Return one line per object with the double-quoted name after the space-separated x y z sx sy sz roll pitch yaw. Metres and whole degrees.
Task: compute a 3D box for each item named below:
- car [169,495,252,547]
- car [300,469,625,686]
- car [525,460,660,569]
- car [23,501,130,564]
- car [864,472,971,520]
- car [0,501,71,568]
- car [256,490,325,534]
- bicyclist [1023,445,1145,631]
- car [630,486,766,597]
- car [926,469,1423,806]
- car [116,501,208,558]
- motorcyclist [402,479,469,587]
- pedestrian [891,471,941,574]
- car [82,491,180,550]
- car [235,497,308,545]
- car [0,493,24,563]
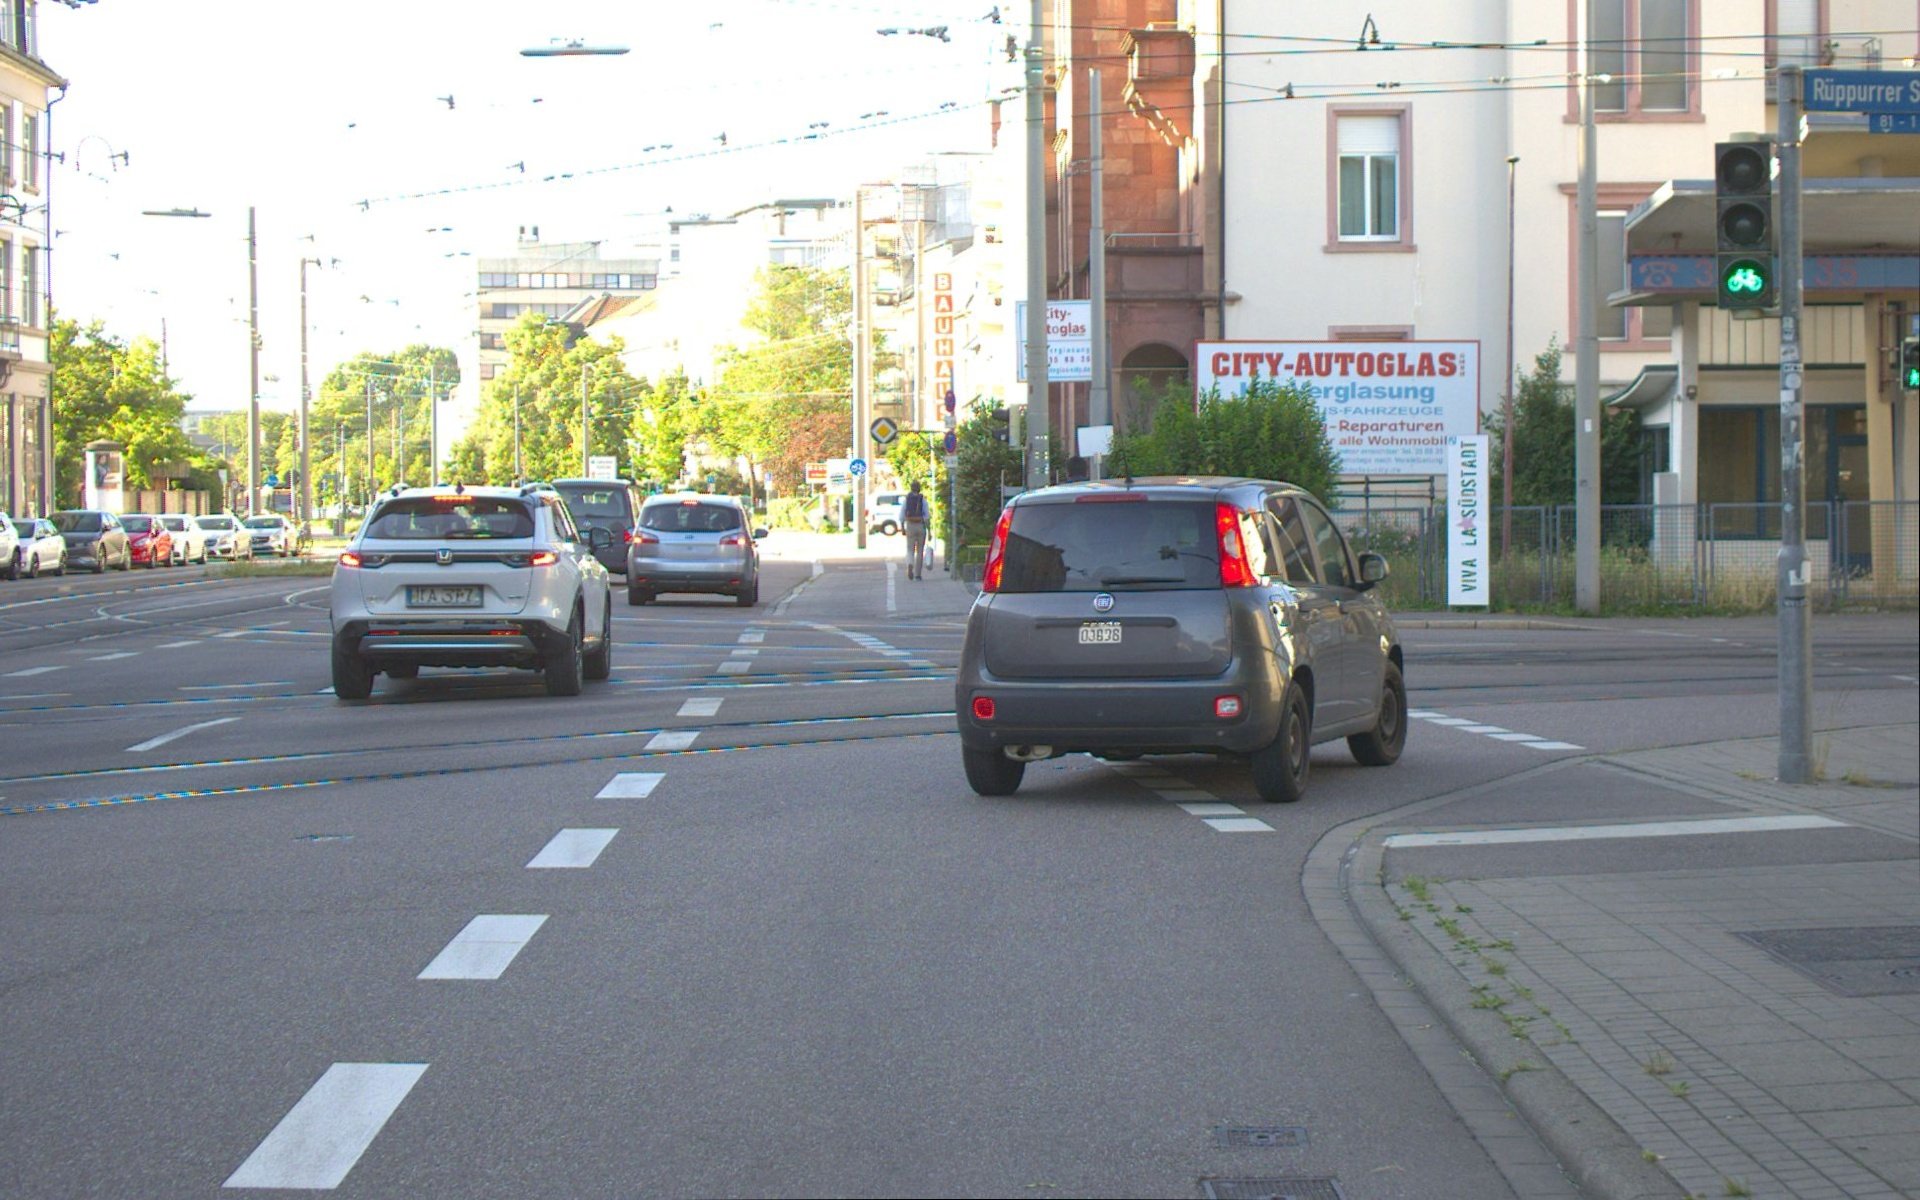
-23.066 -2.444 105.962 1.719 1.546 4.000 0 2 -1 "car"
-3.695 -0.227 26.218 1.947 1.523 4.090 0 2 -1 "car"
-7.014 -1.651 66.081 2.172 2.002 4.809 0 2 -1 "car"
-22.333 -1.725 87.008 1.719 1.546 4.001 -1 2 -1 "car"
-1.799 -4.395 145.683 4.257 2.007 2.001 0 2 -10 "car"
-22.547 -1.575 81.931 1.719 1.546 4.001 -1 2 -1 "car"
-23.893 -3.153 122.816 1.719 1.546 4.001 -1 2 -1 "car"
1.019 -0.518 28.559 0.833 1.520 0.994 0 1 -9 "bicyclist"
-3.869 -0.897 51.317 1.814 1.576 4.001 0 2 -2 "car"
1.211 0.096 17.455 1.732 1.495 3.997 1 2 15 "car"
-22.649 -2.020 97.706 1.719 1.546 4.001 -1 2 -1 "car"
-6.948 -0.892 45.566 0.777 1.418 0.891 0 2 -2 "motorcyclist"
-0.785 -1.392 61.693 0.875 1.818 1.184 0 1 0 "pedestrian"
-22.377 -2.174 92.958 1.719 1.546 4.001 -1 2 -1 "car"
-23.378 -2.698 116.817 1.719 1.546 4.001 -1 2 -1 "car"
-22.383 -1.594 76.790 1.835 1.546 4.275 -1 2 -1 "car"
